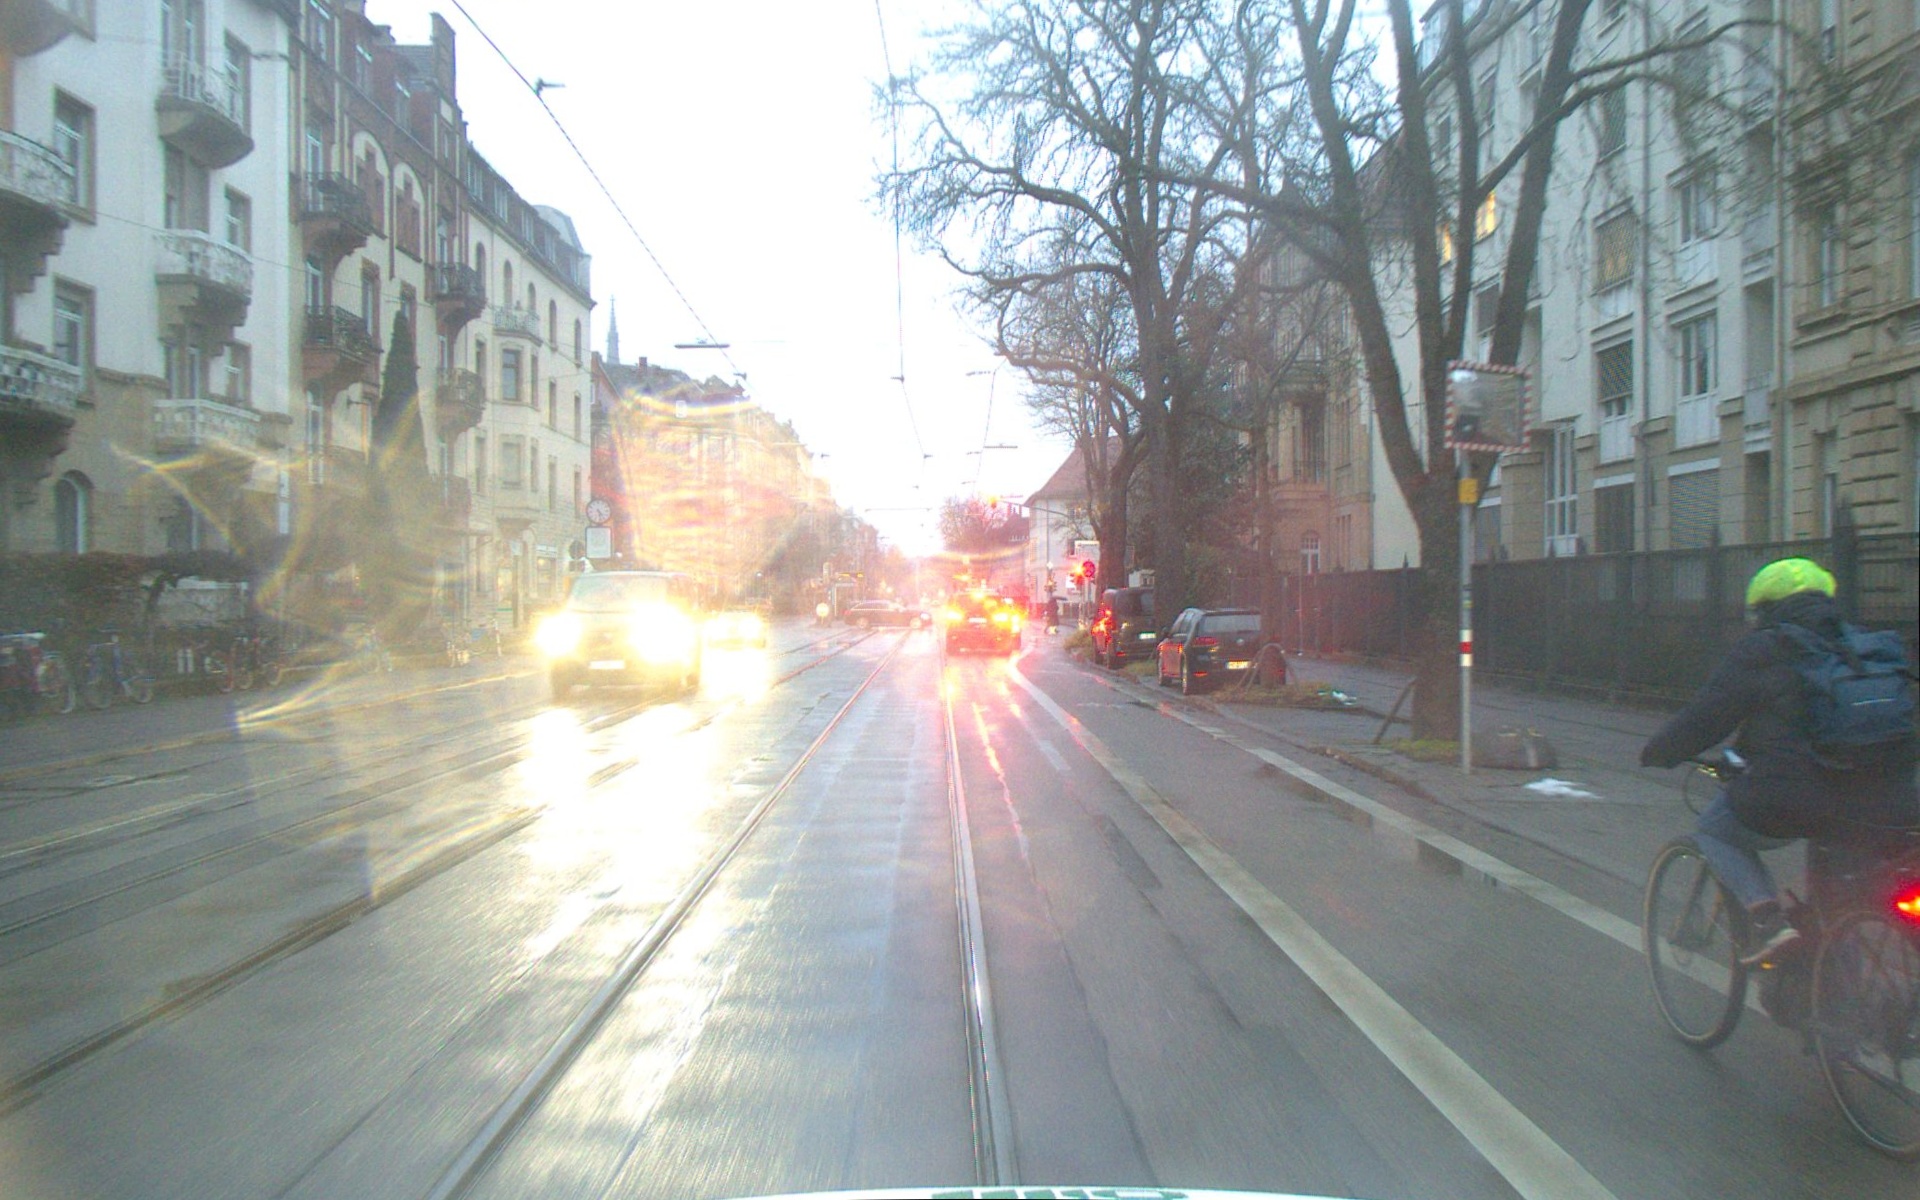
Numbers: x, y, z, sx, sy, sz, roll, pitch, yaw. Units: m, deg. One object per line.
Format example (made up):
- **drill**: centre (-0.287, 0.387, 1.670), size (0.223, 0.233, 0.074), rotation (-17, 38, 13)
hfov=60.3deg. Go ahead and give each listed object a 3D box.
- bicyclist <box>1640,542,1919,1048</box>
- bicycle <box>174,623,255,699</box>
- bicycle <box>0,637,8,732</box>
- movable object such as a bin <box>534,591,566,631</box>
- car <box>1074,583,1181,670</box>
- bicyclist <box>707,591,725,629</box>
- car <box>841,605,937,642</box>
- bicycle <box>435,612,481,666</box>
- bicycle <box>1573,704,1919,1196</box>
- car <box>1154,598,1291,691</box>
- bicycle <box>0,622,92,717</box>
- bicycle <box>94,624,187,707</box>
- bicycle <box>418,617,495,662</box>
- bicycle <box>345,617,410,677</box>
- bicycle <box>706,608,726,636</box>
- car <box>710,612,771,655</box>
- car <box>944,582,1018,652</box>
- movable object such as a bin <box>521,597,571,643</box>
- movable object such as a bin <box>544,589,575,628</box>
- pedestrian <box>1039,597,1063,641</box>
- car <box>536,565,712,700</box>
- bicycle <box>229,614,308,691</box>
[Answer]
- **bicyclist**: centre (2.646, 0.563, 5.245), size (0.642, 1.471, 0.850), rotation (-1, 1, 3)
- **bicycle**: centre (-10.794, 0.861, 24.007), size (0.679, 1.049, 1.592), rotation (-1, -1, -10)
- **bicycle**: centre (-10.839, 0.899, 17.591), size (0.679, 1.049, 1.592), rotation (-1, -4, -8)
- **movable object such as a bin**: centre (-16.987, 0.455, 68.582), size (0.993, 1.628, 1.081), rotation (-1, 1, 1)
- **car**: centre (4.035, 0.587, 40.666), size (1.953, 1.933, 5.025), rotation (-1, 1, -2)
- **bicyclist**: centre (-10.522, 0.423, 71.410), size (0.702, 1.631, 0.930), rotation (-1, 1, -5)
- **car**: centre (-3.628, 1.207, 85.274), size (4.843, 1.747, 1.698), rotation (-1, 1, 1)
- **bicycle**: centre (-11.045, 0.841, 36.431), size (0.602, 1.099, 1.809), rotation (-1, 1, -5)
- **bicycle**: centre (2.665, 0.976, 5.313), size (0.692, 1.116, 2.030), rotation (-1, 1, 2)
- **car**: centre (4.536, 0.726, 29.085), size (1.643, 1.485, 4.041), rotation (-1, 0, -2)
- **bicycle**: centre (-10.881, 0.833, 19.400), size (0.679, 1.049, 1.594), rotation (-1, -3, -6)
- **bicycle**: centre (-10.878, 0.862, 22.003), size (0.679, 1.049, 1.592), rotation (-1, -1, -10)
- **bicycle**: centre (-12.847, 1.006, 42.223), size (1.771, 1.099, 0.615), rotation (-1, 1, -8)
- **bicycle**: centre (-10.873, 0.864, 30.942), size (0.613, 1.035, 1.805), rotation (-2, 1, -2)
- **bicycle**: centre (-10.512, 0.942, 71.367), size (0.702, 1.130, 2.063), rotation (-1, 1, -5)
- **car**: centre (-7.119, 1.068, 53.902), size (1.627, 1.219, 3.873), rotation (-1, 1, -2)
- **car**: centre (0.555, 0.505, 48.147), size (1.953, 1.930, 4.757), rotation (1, -1, -2)
- **movable object such as a bin**: centre (-14.413, 0.684, 57.635), size (1.380, 1.557, 1.364), rotation (-1, 1, -1)
- **movable object such as a bin**: centre (-17.137, 0.349, 70.773), size (0.993, 1.628, 1.081), rotation (-1, 1, 1)
- **pedestrian**: centre (4.281, 0.877, 78.251), size (1.002, 2.049, 0.918), rotation (-1, 1, -4)
- **car**: centre (-5.370, 0.445, 27.090), size (2.005, 1.955, 5.097), rotation (-1, 1, -2)
- **bicycle**: centre (-10.803, 0.794, 25.890), size (0.476, 1.119, 1.930), rotation (-1, 0, -2)
